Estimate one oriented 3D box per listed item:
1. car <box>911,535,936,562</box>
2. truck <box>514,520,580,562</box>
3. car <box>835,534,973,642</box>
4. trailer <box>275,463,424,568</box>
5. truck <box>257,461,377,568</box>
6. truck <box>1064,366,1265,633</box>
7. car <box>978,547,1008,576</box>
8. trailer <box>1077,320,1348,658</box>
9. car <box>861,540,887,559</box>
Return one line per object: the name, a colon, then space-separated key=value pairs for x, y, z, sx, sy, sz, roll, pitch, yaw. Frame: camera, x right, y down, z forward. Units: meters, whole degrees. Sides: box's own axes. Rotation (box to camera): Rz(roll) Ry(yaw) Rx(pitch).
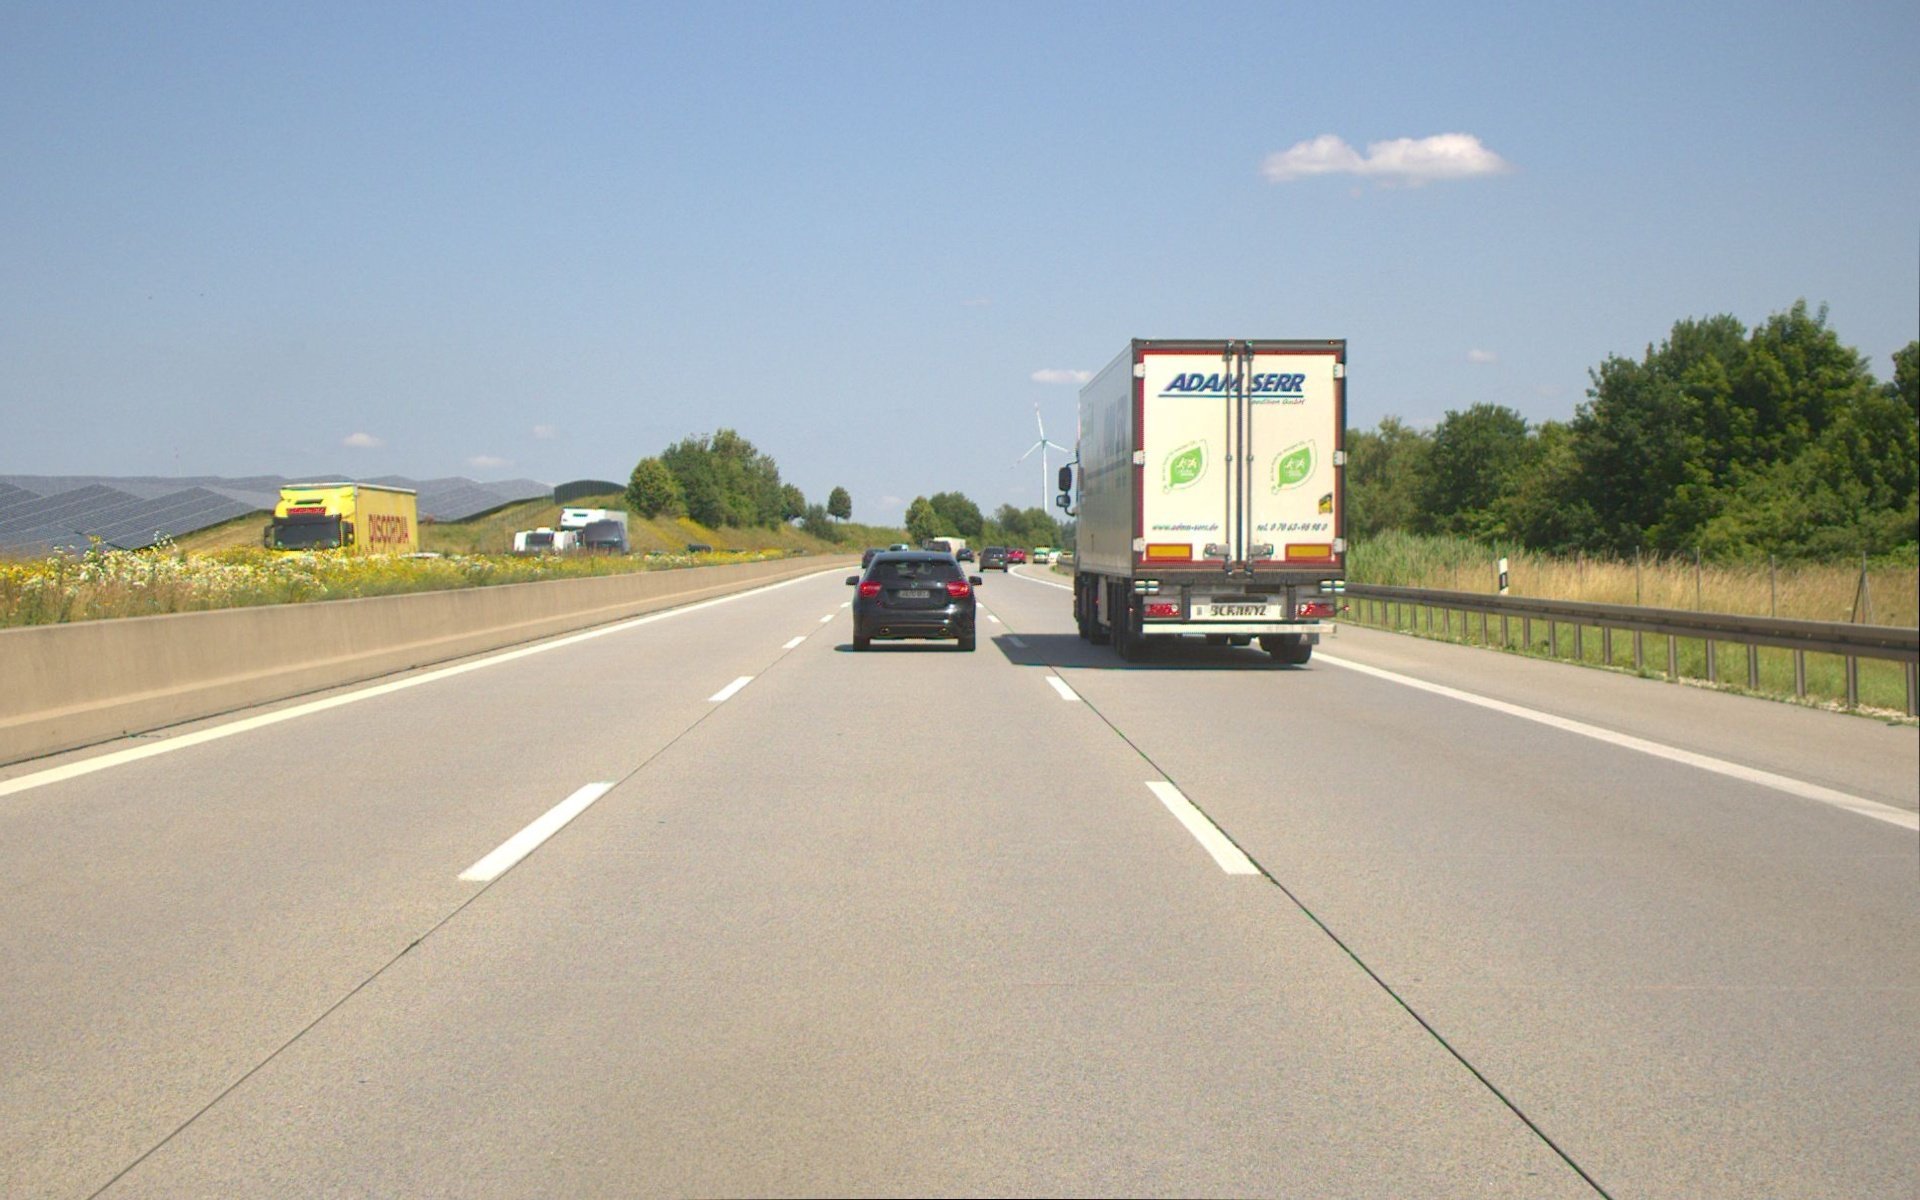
car: x=-2.688 y=-3.788 z=253.405 sx=1.827 sy=1.931 sz=3.809 roll=0 pitch=1 yaw=-1
truck: x=-21.068 y=-2.988 z=175.523 sx=2.517 sy=2.007 sz=7.630 roll=1 pitch=0 yaw=-1
car: x=-0.851 y=-0.208 z=50.340 sx=1.910 sy=1.487 sz=4.192 roll=1 pitch=1 yaw=-2
trailer: x=-21.936 y=-2.944 z=124.443 sx=2.931 sy=3.538 sz=14.020 roll=1 pitch=0 yaw=0
truck: x=-21.949 y=-2.885 z=117.640 sx=2.923 sy=3.528 sz=6.348 roll=0 pitch=0 yaw=0
truck: x=3.229 y=-1.588 z=55.791 sx=2.812 sy=4.074 sz=5.799 roll=1 pitch=1 yaw=-1
car: x=2.149 y=-2.509 z=223.399 sx=1.827 sy=1.900 sz=4.000 roll=0 pitch=1 yaw=-1
trailer: x=3.252 y=-1.428 z=47.651 sx=2.852 sy=4.029 sz=12.713 roll=1 pitch=1 yaw=0
car: x=-5.835 y=-3.420 z=233.382 sx=1.655 sy=1.192 sz=3.960 roll=3 pitch=1 yaw=0
